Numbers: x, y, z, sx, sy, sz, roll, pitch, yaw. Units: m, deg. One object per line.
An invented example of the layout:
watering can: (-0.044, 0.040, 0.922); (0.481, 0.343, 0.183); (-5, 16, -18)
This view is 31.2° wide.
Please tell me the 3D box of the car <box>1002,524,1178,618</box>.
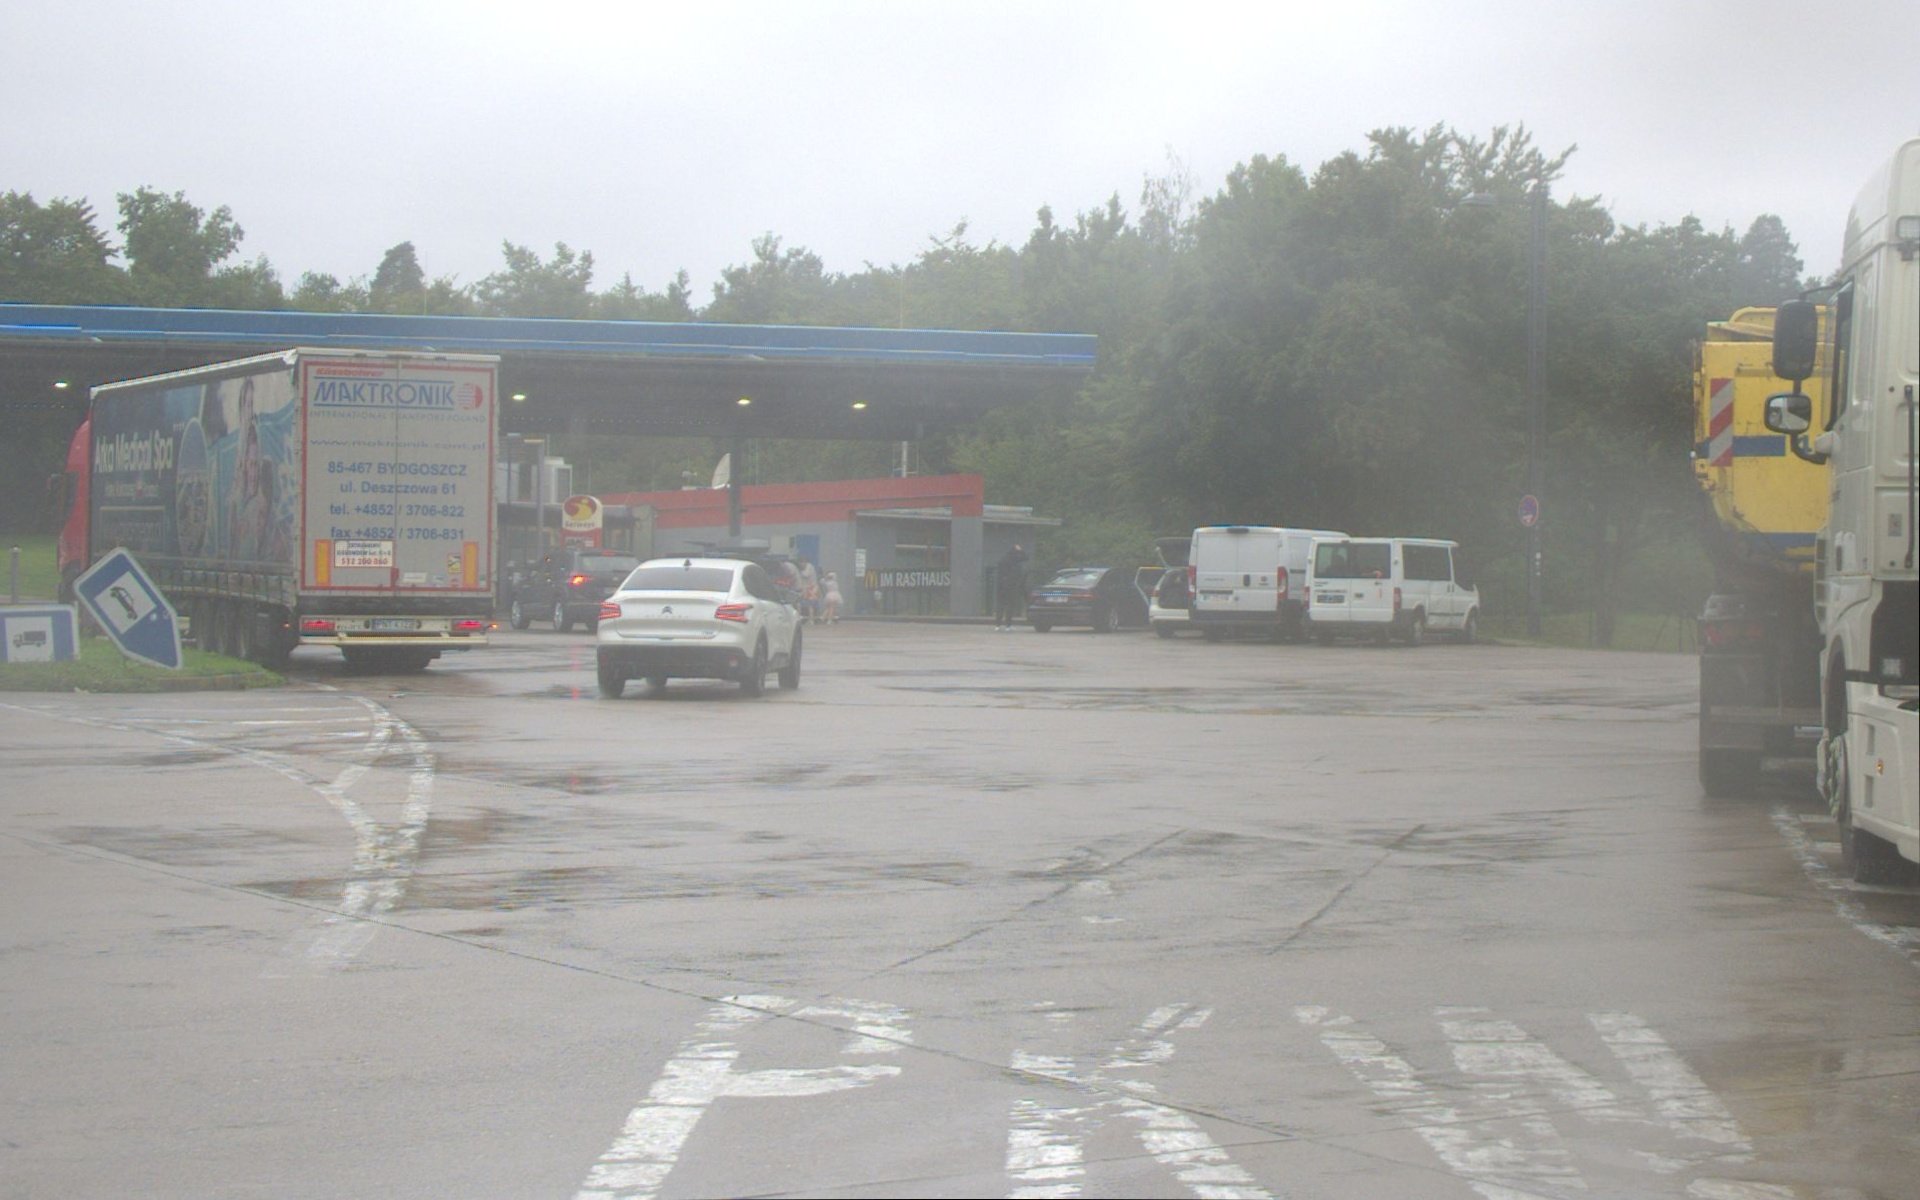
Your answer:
car: (2.814, -0.621, 73.373); (2.116, 1.930, 4.185); (1, 1, 28)

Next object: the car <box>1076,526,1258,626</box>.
car: (4.216, -0.496, 69.447); (2.116, 1.930, 4.185); (1, 1, 28)

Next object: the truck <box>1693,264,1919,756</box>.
truck: (7.358, -0.730, 28.800); (2.182, 3.815, 4.139); (1, 1, 14)

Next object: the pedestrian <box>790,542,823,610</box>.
pedestrian: (-3.538, -0.551, 79.258); (0.608, 1.534, 0.595); (1, -1, -15)

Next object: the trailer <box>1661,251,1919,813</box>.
trailer: (6.284, -0.461, 24.461); (2.184, 3.381, 7.559); (1, 1, 14)

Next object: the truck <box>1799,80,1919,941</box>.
truck: (5.152, -0.386, 15.350); (2.147, 3.501, 4.645); (1, 1, 7)

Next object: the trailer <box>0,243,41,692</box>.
trailer: (-12.999, -1.422, 36.285); (3.215, 4.175, 11.530); (2, 1, -31)

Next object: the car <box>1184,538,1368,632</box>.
car: (6.089, -0.303, 65.853); (2.116, 1.722, 3.994); (1, 1, 28)

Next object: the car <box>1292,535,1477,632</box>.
car: (7.917, -0.316, 63.835); (2.116, 1.722, 3.994); (1, 1, 28)

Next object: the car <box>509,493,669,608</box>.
car: (-7.370, -0.942, 67.977); (1.993, 2.007, 4.001); (4, -3, -23)

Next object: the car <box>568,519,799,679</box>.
car: (-3.003, -0.019, 38.112); (1.994, 1.673, 3.999); (0, 0, 4)

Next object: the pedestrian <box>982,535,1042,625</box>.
pedestrian: (1.124, -0.431, 73.815); (0.955, 1.913, 1.088); (1, 1, 20)

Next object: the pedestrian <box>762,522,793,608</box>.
pedestrian: (-4.406, -0.846, 82.898); (0.586, 2.007, 0.638); (3, -3, -8)

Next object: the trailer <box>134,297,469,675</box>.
trailer: (-9.077, -1.430, 46.372); (1.993, 4.544, 9.811); (1, 0, -25)

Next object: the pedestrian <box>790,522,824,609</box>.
pedestrian: (-3.635, -0.823, 81.662); (0.669, 2.007, 0.742); (3, -2, 1)
